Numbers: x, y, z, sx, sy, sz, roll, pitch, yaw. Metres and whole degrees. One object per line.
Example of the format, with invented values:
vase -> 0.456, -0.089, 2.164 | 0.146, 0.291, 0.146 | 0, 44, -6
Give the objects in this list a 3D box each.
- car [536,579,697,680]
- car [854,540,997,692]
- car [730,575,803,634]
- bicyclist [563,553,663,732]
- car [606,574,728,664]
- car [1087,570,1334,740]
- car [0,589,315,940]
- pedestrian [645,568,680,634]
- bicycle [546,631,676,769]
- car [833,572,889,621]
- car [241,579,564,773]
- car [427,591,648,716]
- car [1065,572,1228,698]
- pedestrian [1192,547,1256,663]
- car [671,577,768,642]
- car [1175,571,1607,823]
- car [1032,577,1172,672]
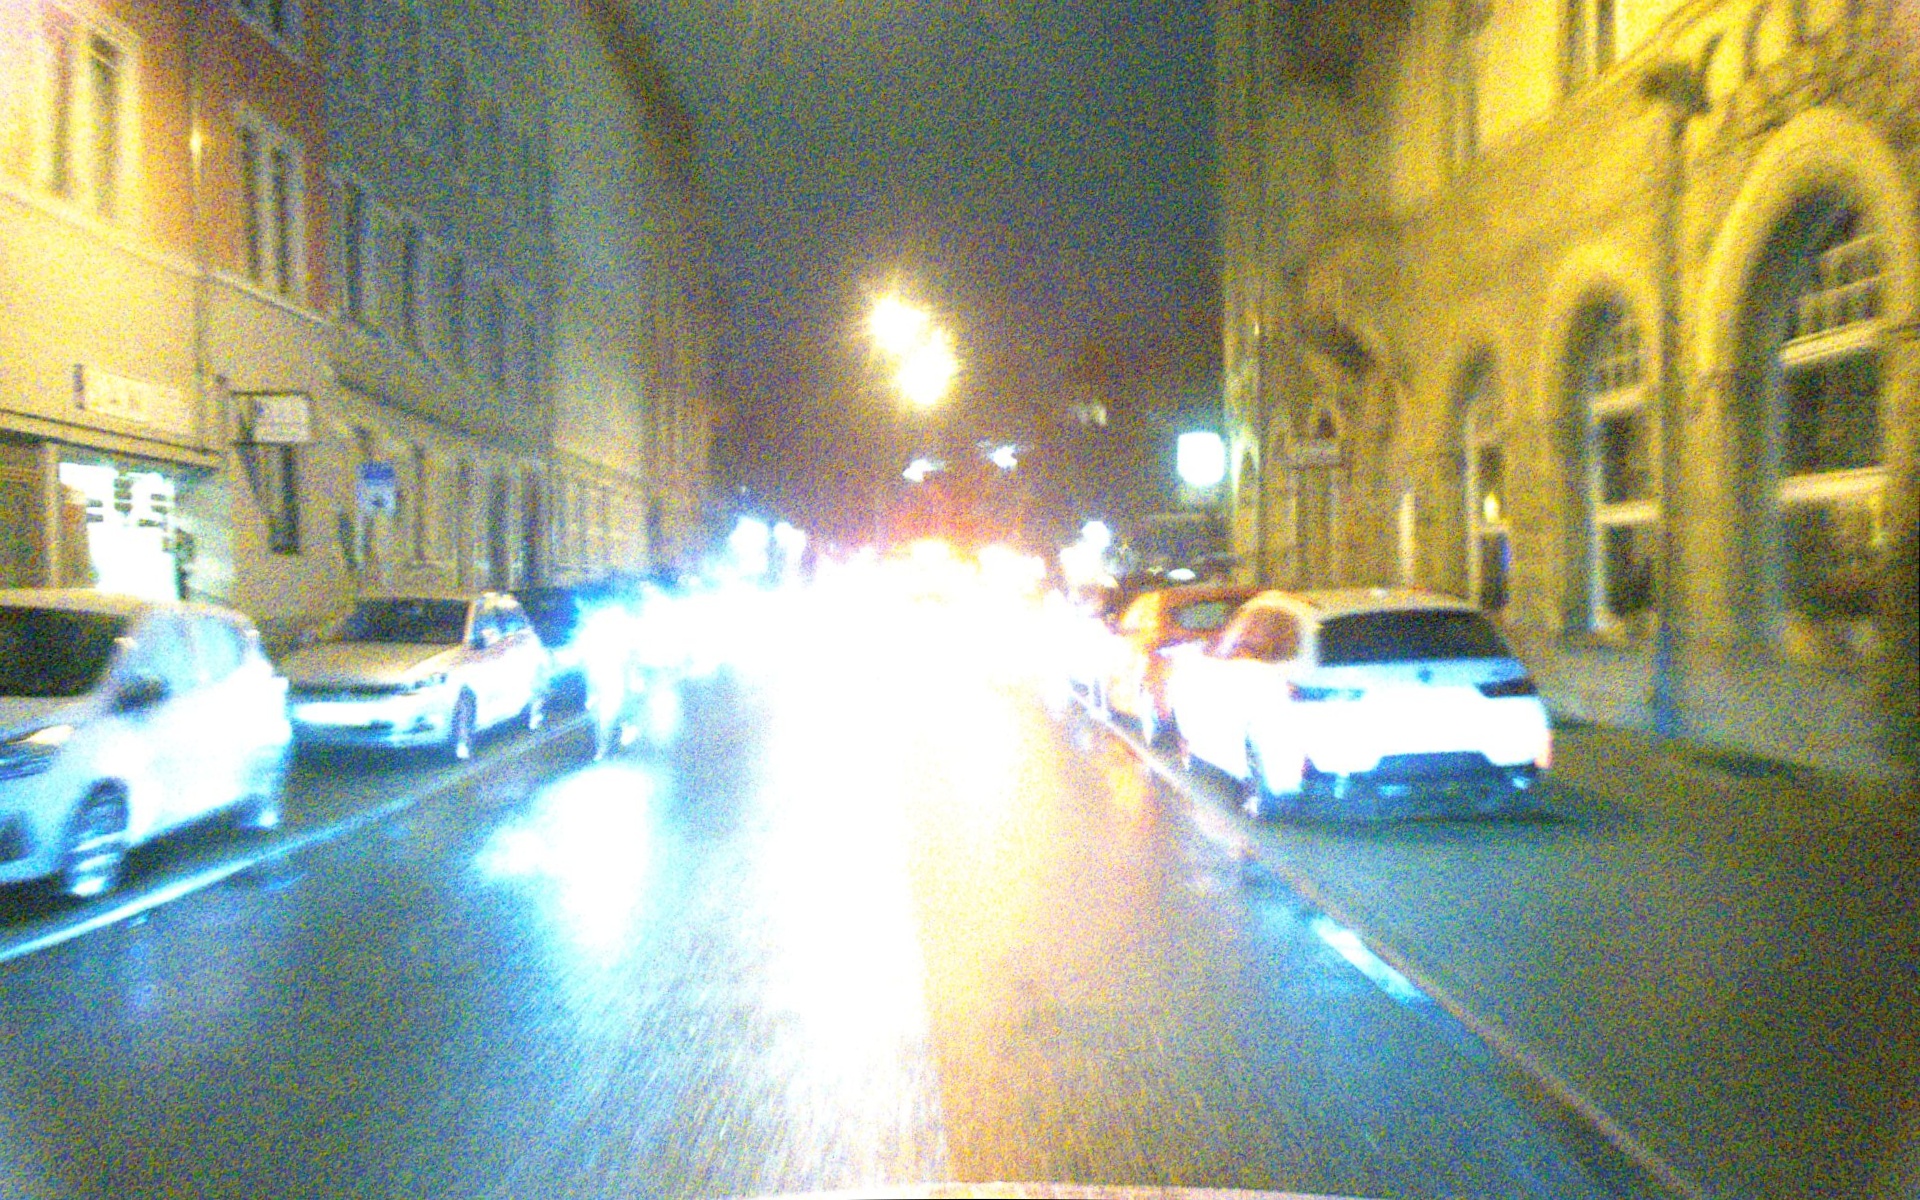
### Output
car -> -5.530, 0.423, 27.173 | 1.795, 1.507, 4.306 | 0, 1, -1
car -> -0.492, 0.187, 25.100 | 1.955, 2.084, 4.694 | 0, 1, 0
car -> -5.999, 0.101, 51.687 | 1.795, 1.747, 4.594 | 0, 1, -1
bicyclist -> -3.184, 0.374, 15.241 | 0.704, 1.583, 0.895 | -1, 0, -1
car -> -5.560, 0.318, 31.780 | 1.709, 1.616, 3.765 | 0, 1, -1
car -> 2.447, 0.483, 17.068 | 1.656, 1.524, 3.888 | -1, 1, -5
car -> -5.066, 0.712, 9.071 | 1.638, 1.517, 3.721 | 1, 1, -1
pedestrian -> -8.360, 0.029, 46.543 | 0.727, 1.836, 0.987 | 2, 0, 2
bicycle -> -3.186, 0.880, 15.316 | 0.712, 1.091, 2.348 | -1, 1, -1
car -> -3.596, -0.164, 60.545 | 1.882, 1.646, 4.573 | -2, 1, -2
car -> -5.150, 0.610, 15.875 | 1.738, 1.599, 4.134 | -1, 1, -1
car -> -5.342, 0.604, 21.483 | 1.785, 1.414, 4.425 | -1, 1, -1
car -> 2.425, 0.413, 22.325 | 1.655, 1.524, 3.890 | -1, 1, -2
pedestrian -> 4.308, 0.063, 27.041 | 0.844, 1.819, 1.083 | -2, 1, 2
car -> -5.891, 0.187, 41.015 | 1.795, 1.512, 4.594 | 0, 1, -1
car -> 2.888, 0.559, 12.171 | 1.953, 1.489, 4.416 | -1, 1, -1
car -> 2.293, 0.354, 27.705 | 1.879, 1.436, 3.999 | -1, 1, -2
